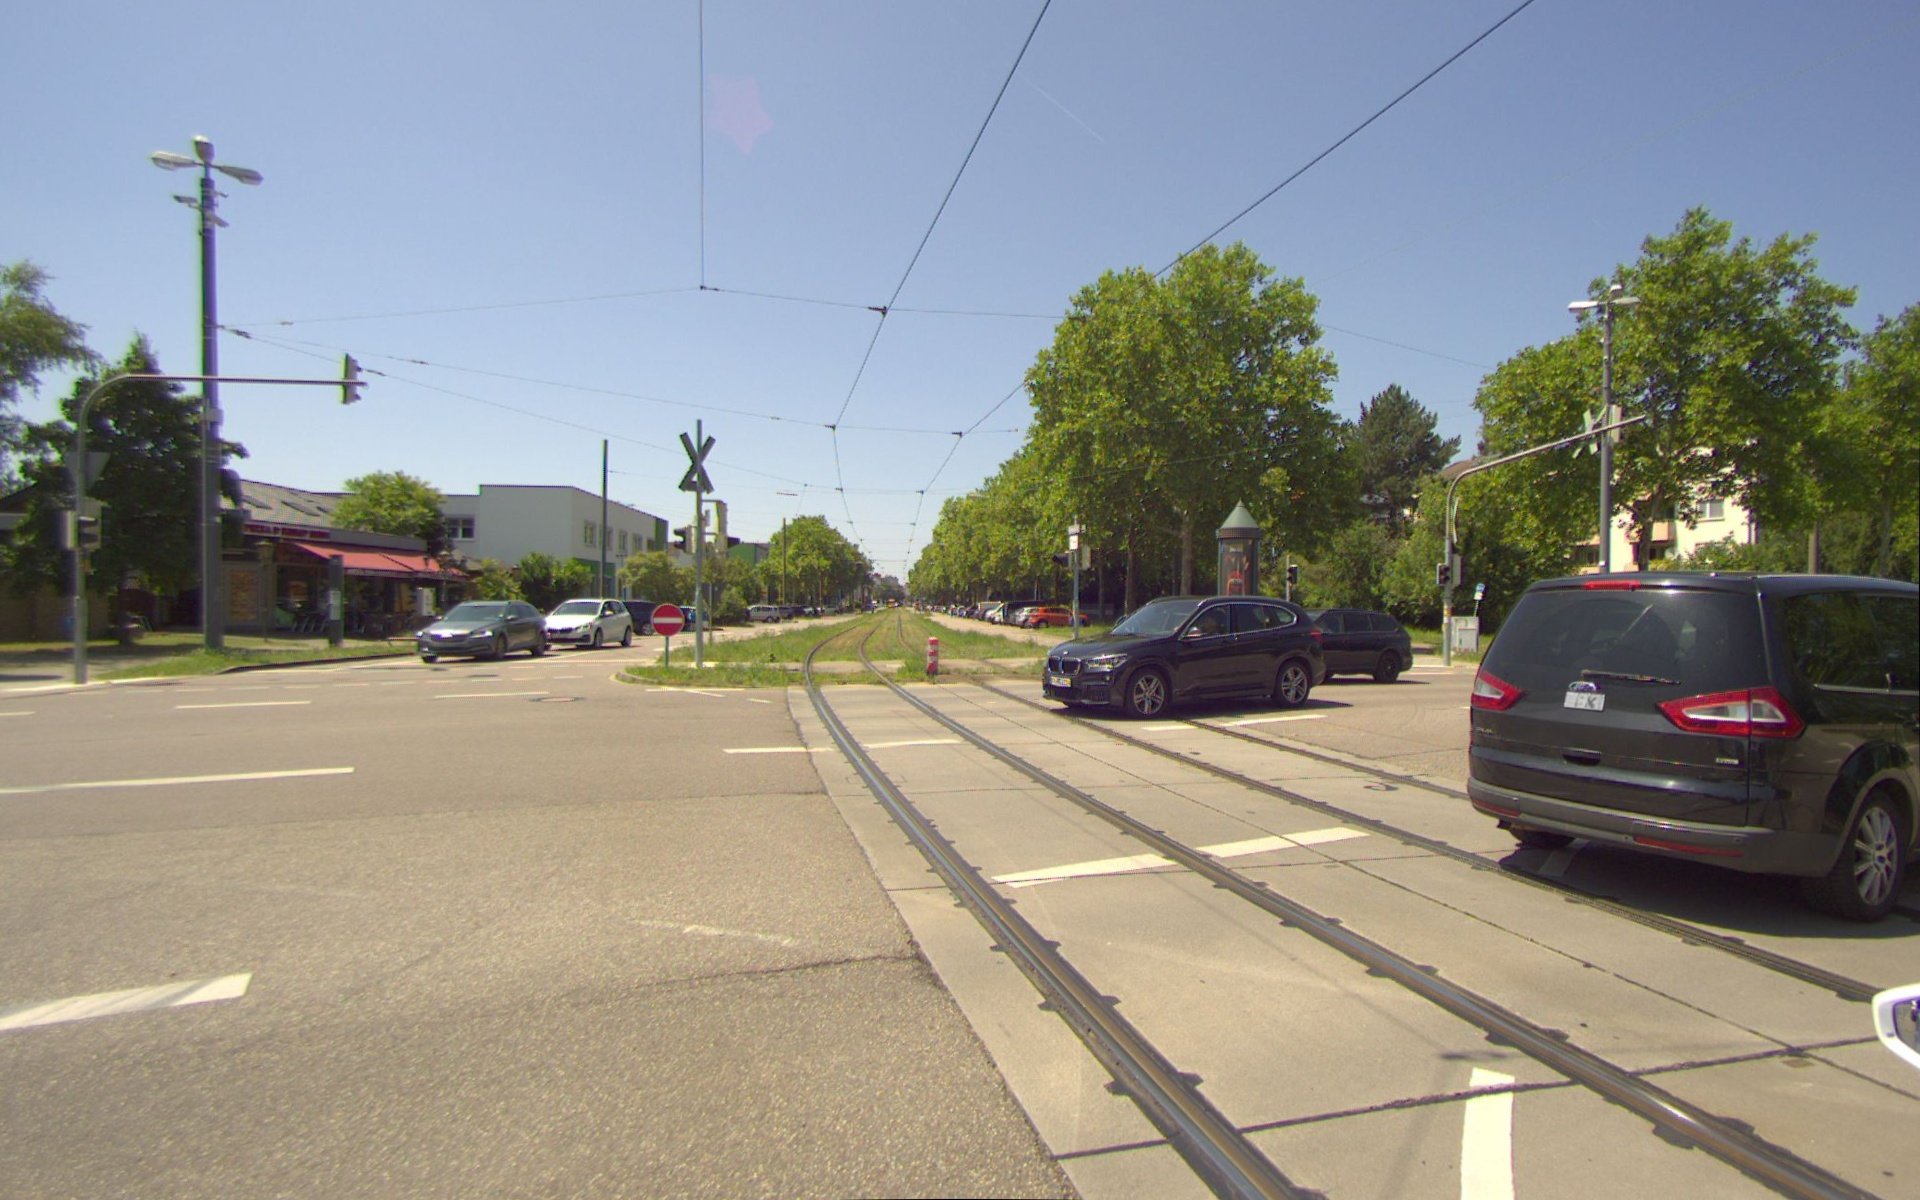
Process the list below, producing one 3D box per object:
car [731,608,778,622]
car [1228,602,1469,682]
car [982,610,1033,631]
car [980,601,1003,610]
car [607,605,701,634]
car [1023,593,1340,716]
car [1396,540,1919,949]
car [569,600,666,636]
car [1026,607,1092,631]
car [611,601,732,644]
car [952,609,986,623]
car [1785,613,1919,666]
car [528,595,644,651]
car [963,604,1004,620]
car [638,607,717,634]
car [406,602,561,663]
[{"bbox_3d":[-18.308,1.299,89.499,3.844,1.221,1.352,0,0,-28],"label":"car"},{"bbox_3d":[7.972,0.798,20.562,4.683,1.459,1.943,0,0,-26],"label":"car"},{"bbox_3d":[3.456,1.491,73.127,3.484,1.415,1.498,0,0,-8],"label":"car"},{"bbox_3d":[3.731,0.671,118.622,2.669,1.008,1.008,0,0,-6],"label":"car"},{"bbox_3d":[-15.768,0.962,51.837,4.339,1.431,1.862,0,0,-32],"label":"car"},{"bbox_3d":[3.209,0.698,14.482,4.243,1.559,1.902,0,0,-27],"label":"car"},{"bbox_3d":[5.067,0.629,6.241,4.588,1.779,1.847,0,0,-27],"label":"car"},{"bbox_3d":[-16.364,0.818,48.015,4.146,1.673,1.769,0,0,-32],"label":"car"},{"bbox_3d":[6.422,1.212,65.468,4.061,1.415,1.457,1,1,-8],"label":"car"},{"bbox_3d":[-11.854,0.899,41.363,4.518,1.673,1.768,0,0,-32],"label":"car"},{"bbox_3d":[0.936,1.662,105.704,3.484,1.415,1.498,0,0,-8],"label":"car"},{"bbox_3d":[26.332,1.123,29.425,3.811,1.475,1.717,0,0,-21],"label":"car"},{"bbox_3d":[-11.641,0.664,31.611,2.174,1.626,4.459,0,0,-3],"label":"car"},{"bbox_3d":[2.089,1.063,89.961,3.484,1.415,1.498,0,0,-8],"label":"car"},{"bbox_3d":[-16.096,1.137,57.242,4.010,1.442,1.933,0,0,-28],"label":"car"},{"bbox_3d":[-11.853,0.754,25.382,1.851,1.399,4.669,0,0,-3],"label":"car"}]
